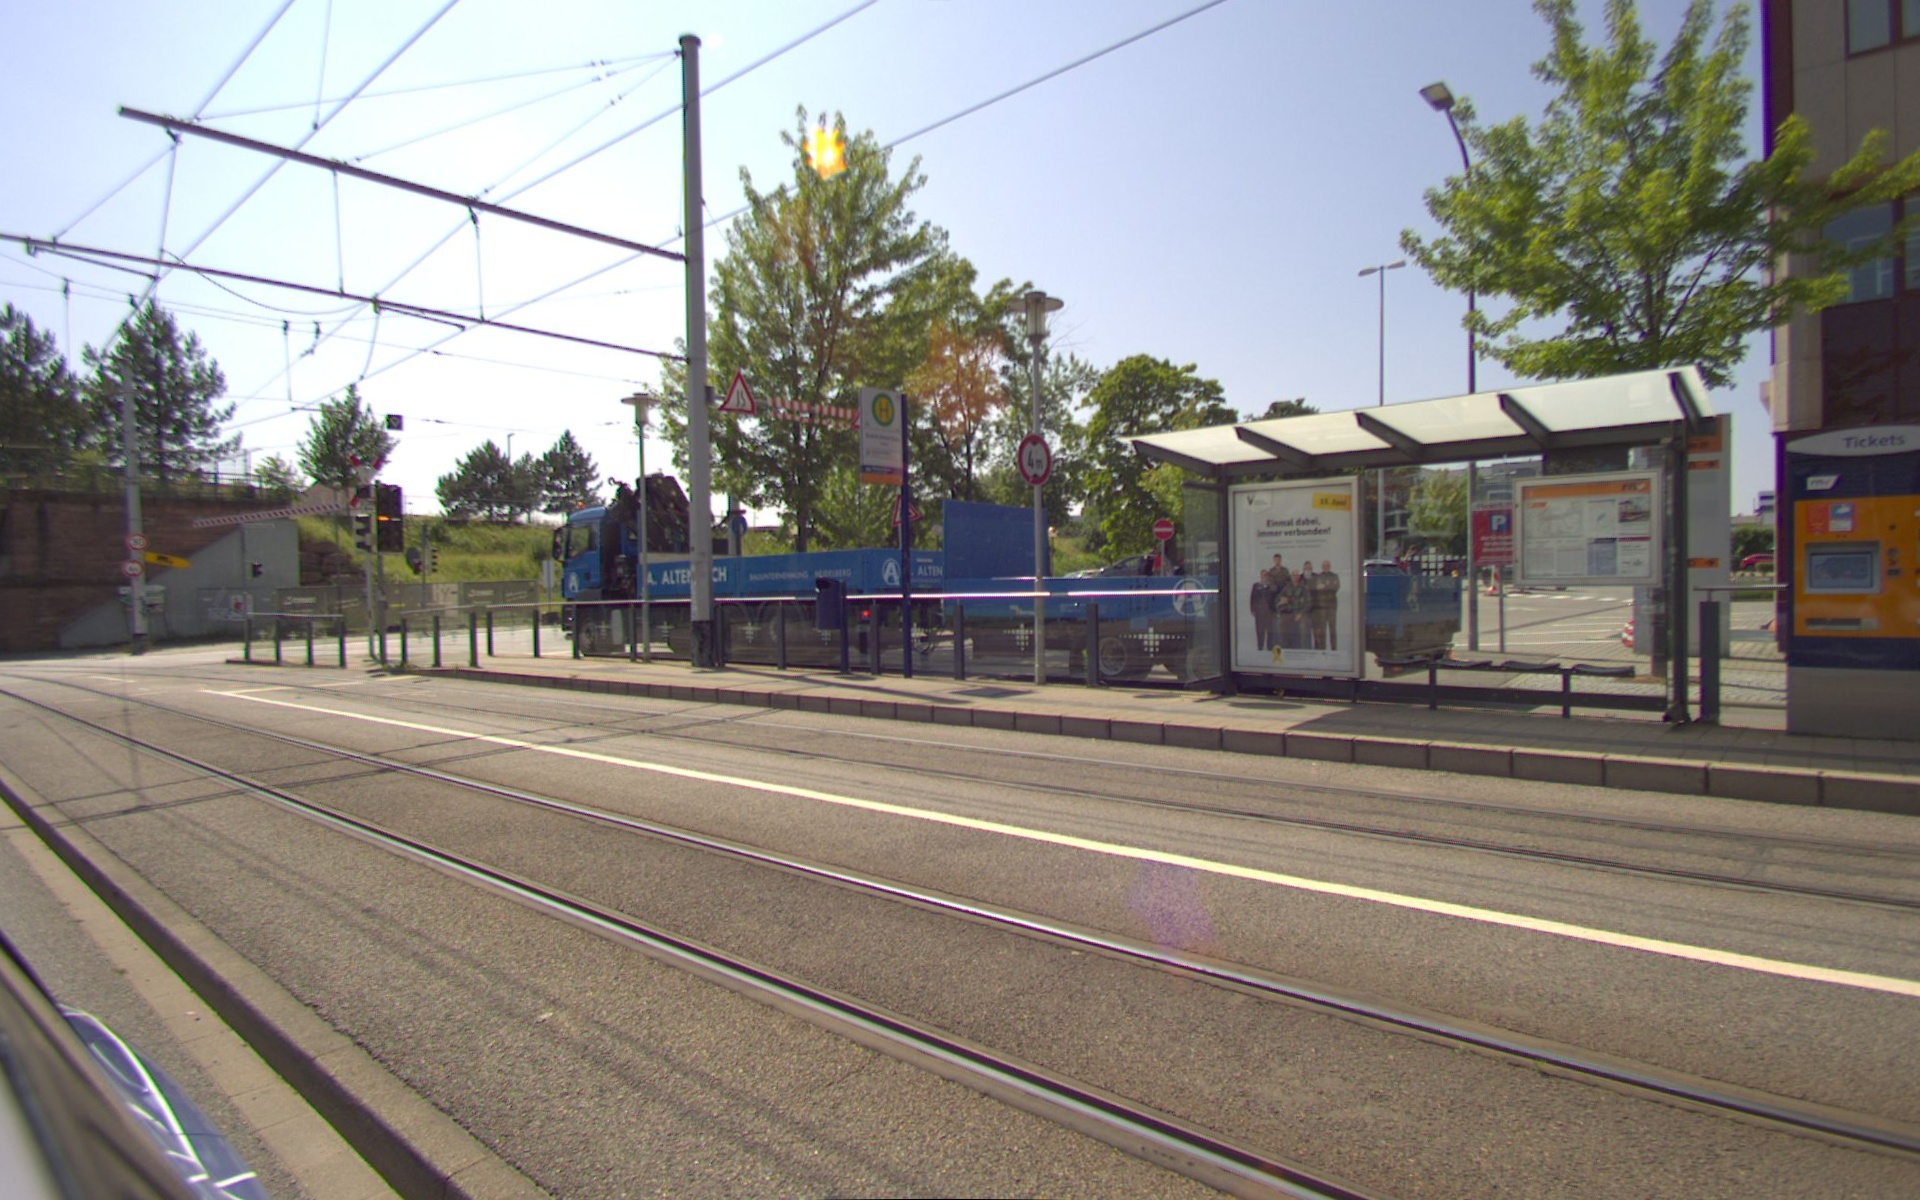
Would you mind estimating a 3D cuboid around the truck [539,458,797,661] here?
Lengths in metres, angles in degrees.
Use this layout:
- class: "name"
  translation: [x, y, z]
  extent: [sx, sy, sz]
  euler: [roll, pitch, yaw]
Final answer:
- class: "truck"
  translation: [-6.086, -0.711, 20.831]
  extent: [5.036, 3.635, 2.716]
  euler: [-1, 0, 40]

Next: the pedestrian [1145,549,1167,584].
- class: "pedestrian"
  translation: [8.885, -1.534, 45.869]
  extent: [0.743, 1.538, 0.566]
  euler: [-2, 1, -27]

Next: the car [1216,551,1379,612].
- class: "car"
  translation: [9.590, -0.610, 29.314]
  extent: [2.151, 1.606, 5.129]
  euler: [0, 3, -12]

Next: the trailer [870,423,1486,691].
- class: "trailer"
  translation: [2.500, -0.383, 13.515]
  extent: [7.594, 2.648, 2.769]
  euler: [-1, 0, 40]

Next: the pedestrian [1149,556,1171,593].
- class: "pedestrian"
  translation: [8.483, -1.096, 42.998]
  extent: [0.564, 1.538, 0.746]
  euler: [-1, 1, 43]

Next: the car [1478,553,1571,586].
- class: "car"
  translation: [26.719, -1.416, 48.073]
  extent: [1.696, 1.462, 4.246]
  euler: [-2, 1, -6]

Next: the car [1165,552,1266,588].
- class: "car"
  translation: [12.947, -1.493, 51.578]
  extent: [4.762, 1.504, 1.847]
  euler: [-3, 0, 9]

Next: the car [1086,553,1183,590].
- class: "car"
  translation: [7.738, -1.246, 44.851]
  extent: [3.961, 1.348, 1.707]
  euler: [-3, 0, 21]

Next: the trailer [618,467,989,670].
- class: "trailer"
  translation: [-3.030, -0.431, 18.214]
  extent: [6.893, 3.000, 2.716]
  euler: [-1, 0, 41]

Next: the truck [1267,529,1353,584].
- class: "truck"
  translation: [29.274, -3.615, 84.347]
  extent: [3.355, 4.174, 9.149]
  euler: [-3, 0, 42]
